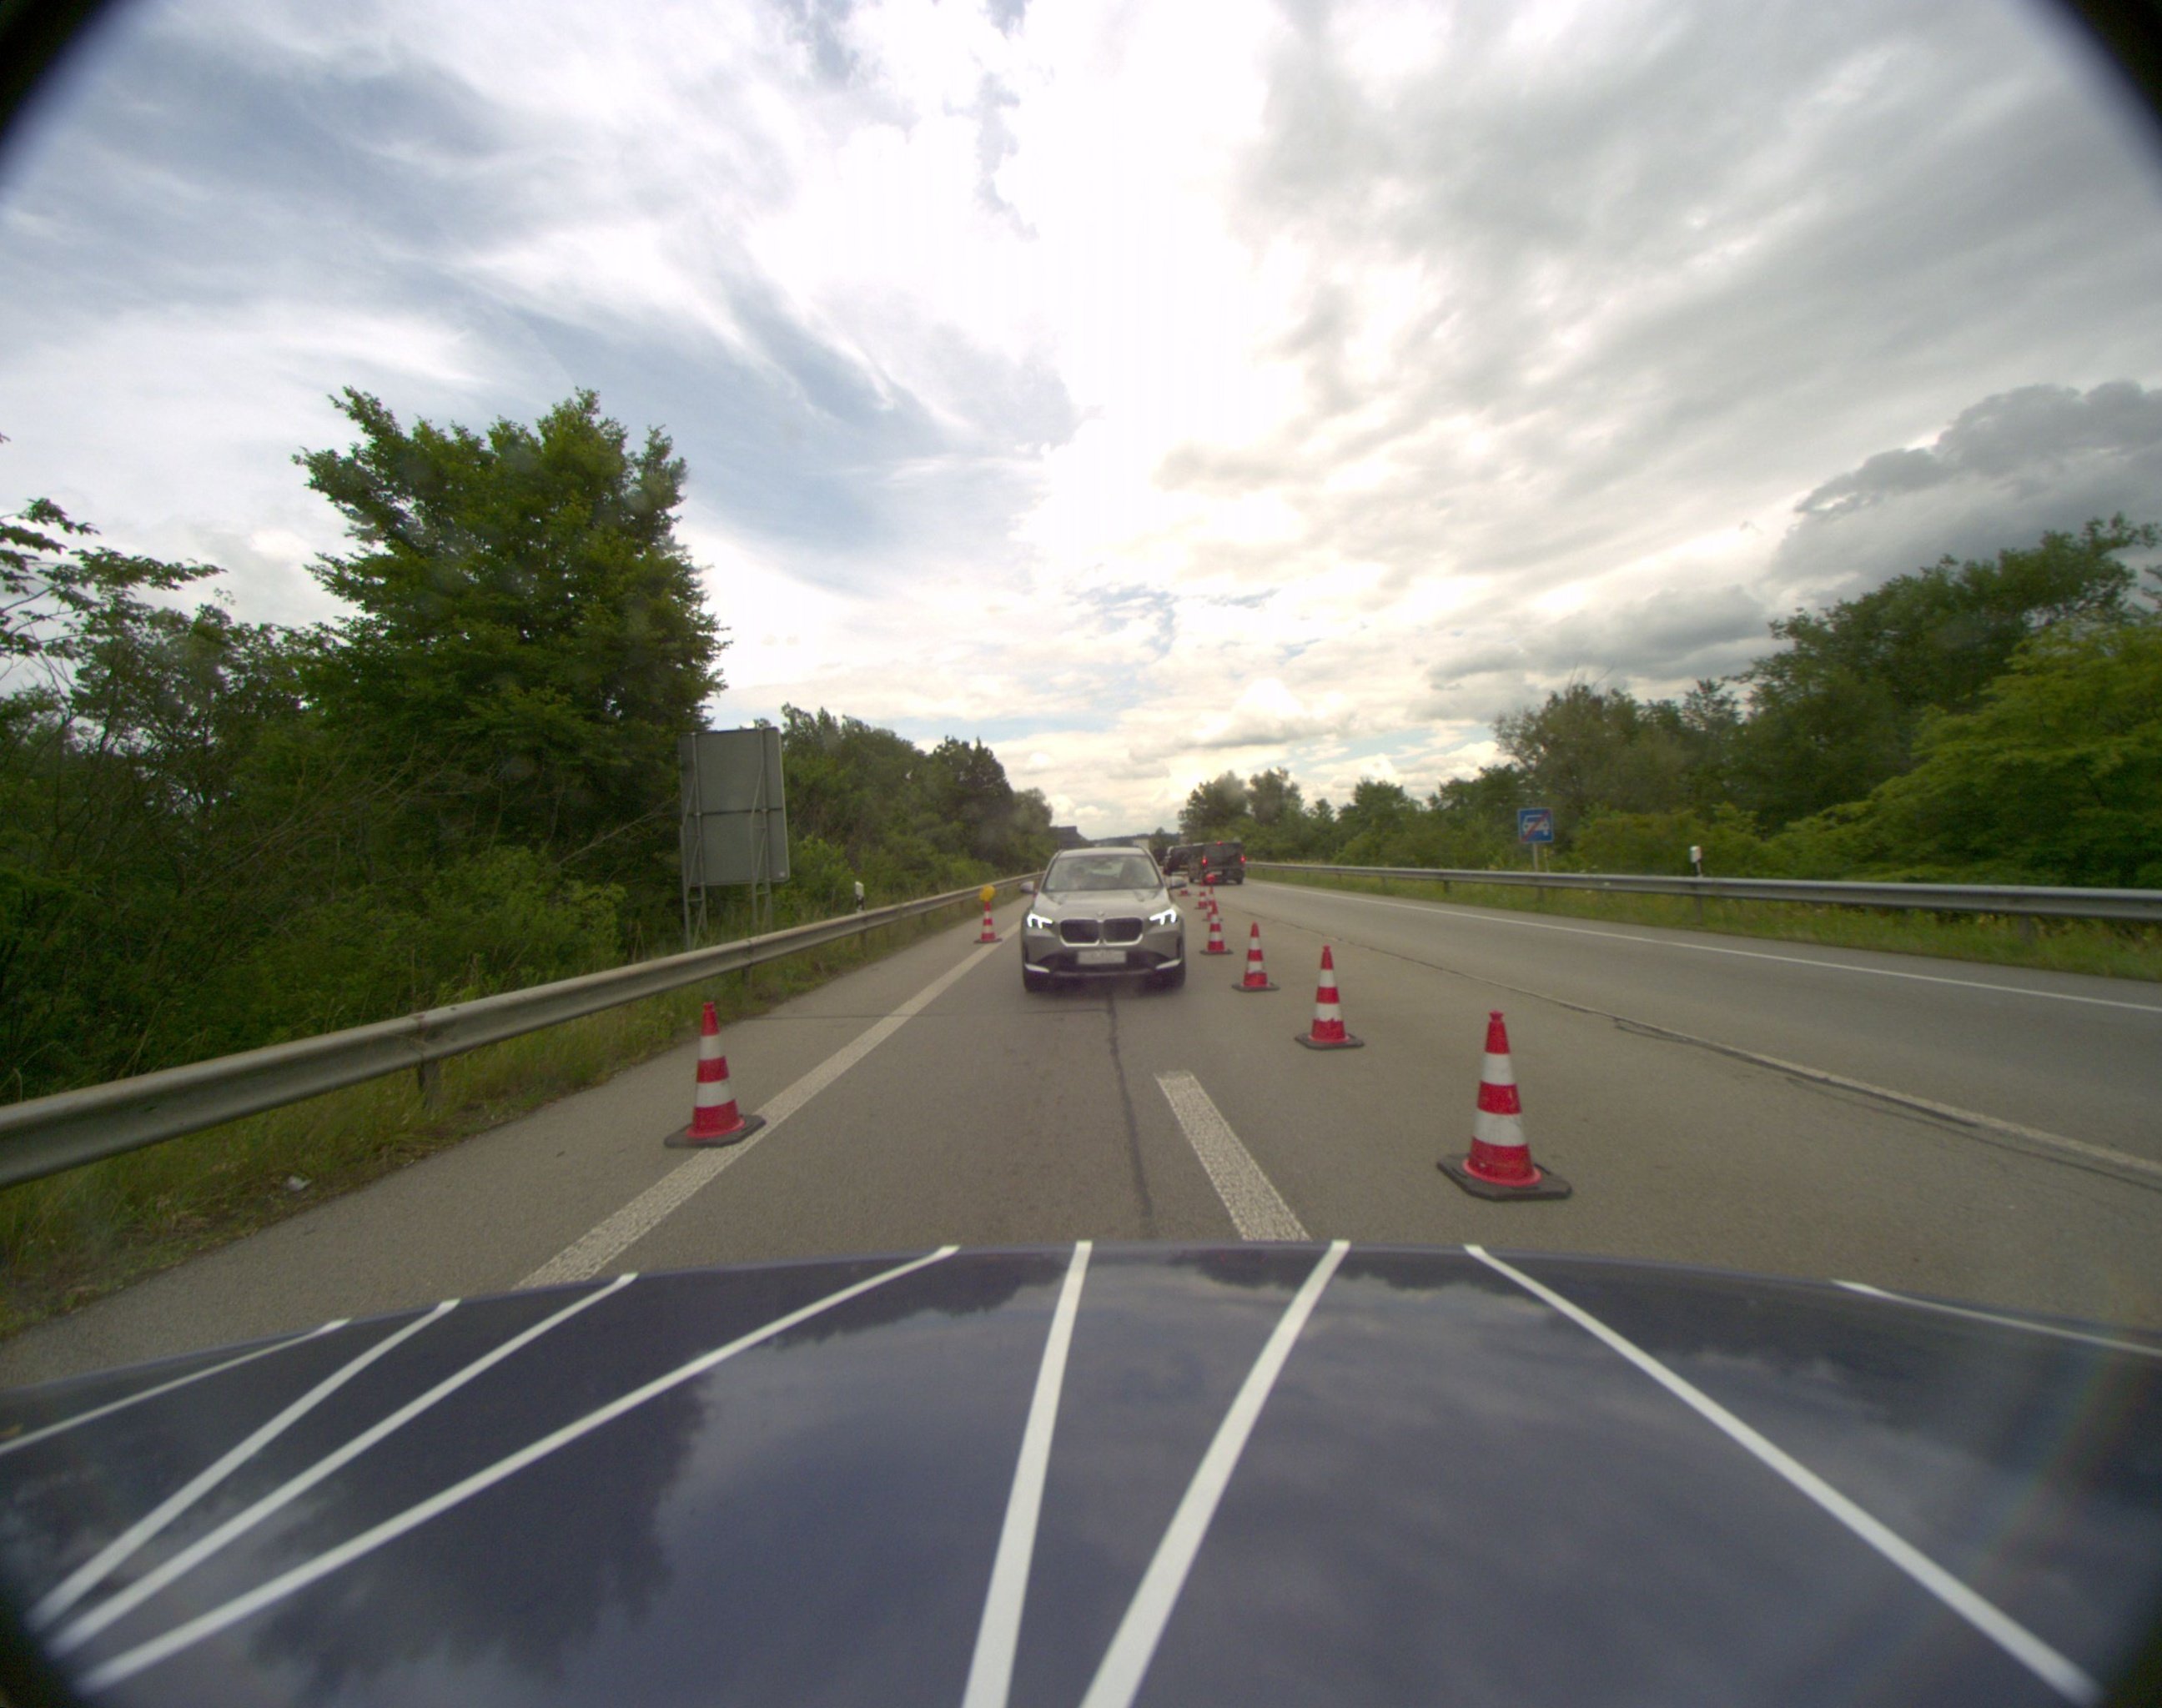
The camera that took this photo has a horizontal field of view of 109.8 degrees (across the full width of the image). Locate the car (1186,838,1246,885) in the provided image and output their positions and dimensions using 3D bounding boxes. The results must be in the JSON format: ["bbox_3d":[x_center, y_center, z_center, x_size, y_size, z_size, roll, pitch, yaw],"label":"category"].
[{"bbox_3d":[6.184,0.317,35.339,2.034,1.976,5.316,-2,0,3],"label":"car"}]

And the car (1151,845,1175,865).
[{"bbox_3d":[7.967,0.055,74.088,1.929,1.820,4.533,-2,0,3],"label":"car"}]

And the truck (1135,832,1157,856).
[{"bbox_3d":[10.712,-1.682,126.437,3.113,3.682,9.544,-2,0,2],"label":"truck"}]

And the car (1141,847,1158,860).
[{"bbox_3d":[9.150,-0.042,101.835,1.929,1.597,4.533,-2,0,3],"label":"car"}]

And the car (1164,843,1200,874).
[{"bbox_3d":[6.615,0.292,50.168,1.971,1.873,4.533,-2,0,3],"label":"car"}]

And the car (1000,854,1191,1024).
[{"bbox_3d":[0.238,0.839,9.670,1.817,1.598,4.433,-2,0,2],"label":"car"}]
